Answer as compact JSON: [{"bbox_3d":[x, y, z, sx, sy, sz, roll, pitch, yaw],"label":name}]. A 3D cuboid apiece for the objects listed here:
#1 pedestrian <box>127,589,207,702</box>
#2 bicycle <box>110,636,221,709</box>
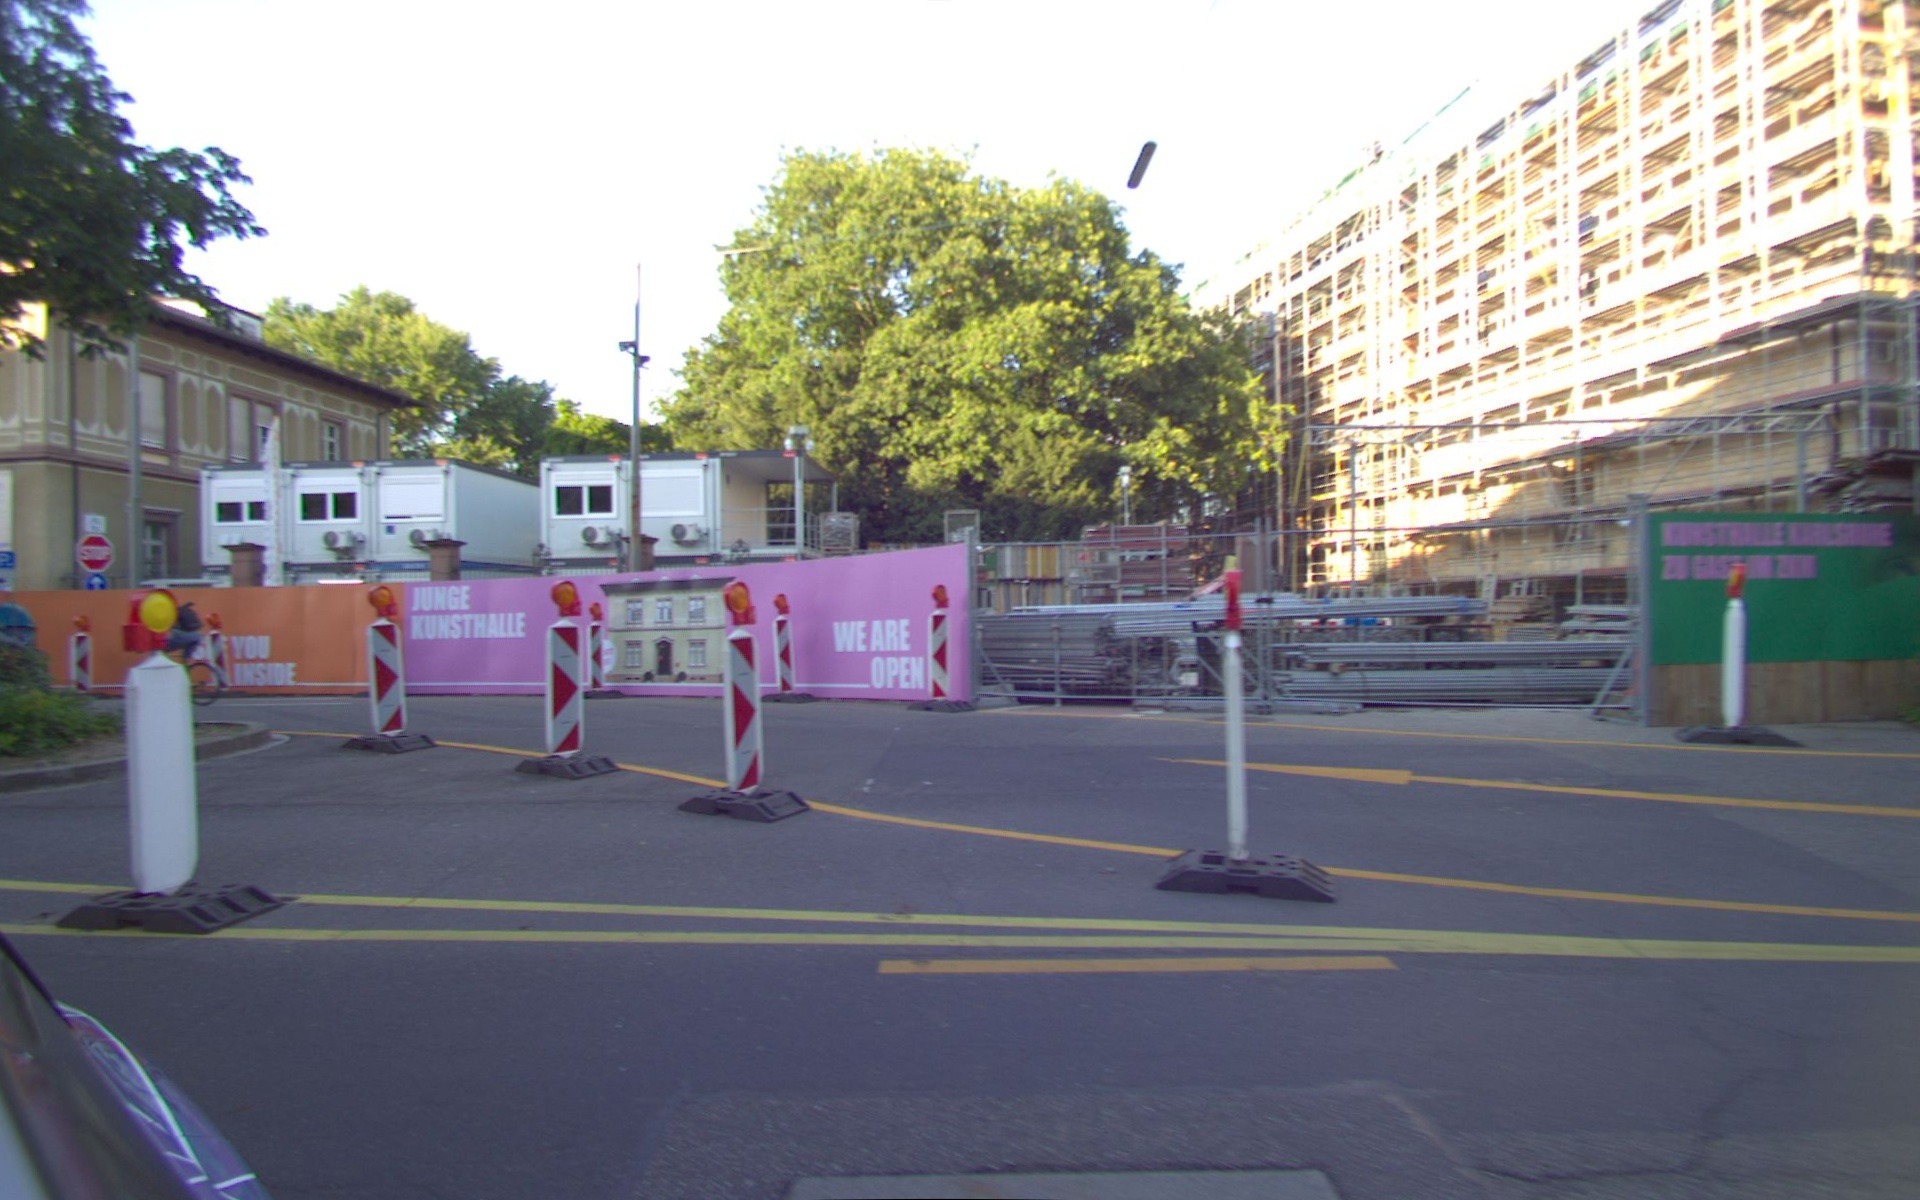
[{"bbox_3d":[-12.289,0.682,15.683,0.893,1.687,0.729,-2,-1,34],"label":"pedestrian"},{"bbox_3d":[-12.376,1.098,15.745,2.115,1.045,0.754,-2,-1,34],"label":"bicycle"}]
